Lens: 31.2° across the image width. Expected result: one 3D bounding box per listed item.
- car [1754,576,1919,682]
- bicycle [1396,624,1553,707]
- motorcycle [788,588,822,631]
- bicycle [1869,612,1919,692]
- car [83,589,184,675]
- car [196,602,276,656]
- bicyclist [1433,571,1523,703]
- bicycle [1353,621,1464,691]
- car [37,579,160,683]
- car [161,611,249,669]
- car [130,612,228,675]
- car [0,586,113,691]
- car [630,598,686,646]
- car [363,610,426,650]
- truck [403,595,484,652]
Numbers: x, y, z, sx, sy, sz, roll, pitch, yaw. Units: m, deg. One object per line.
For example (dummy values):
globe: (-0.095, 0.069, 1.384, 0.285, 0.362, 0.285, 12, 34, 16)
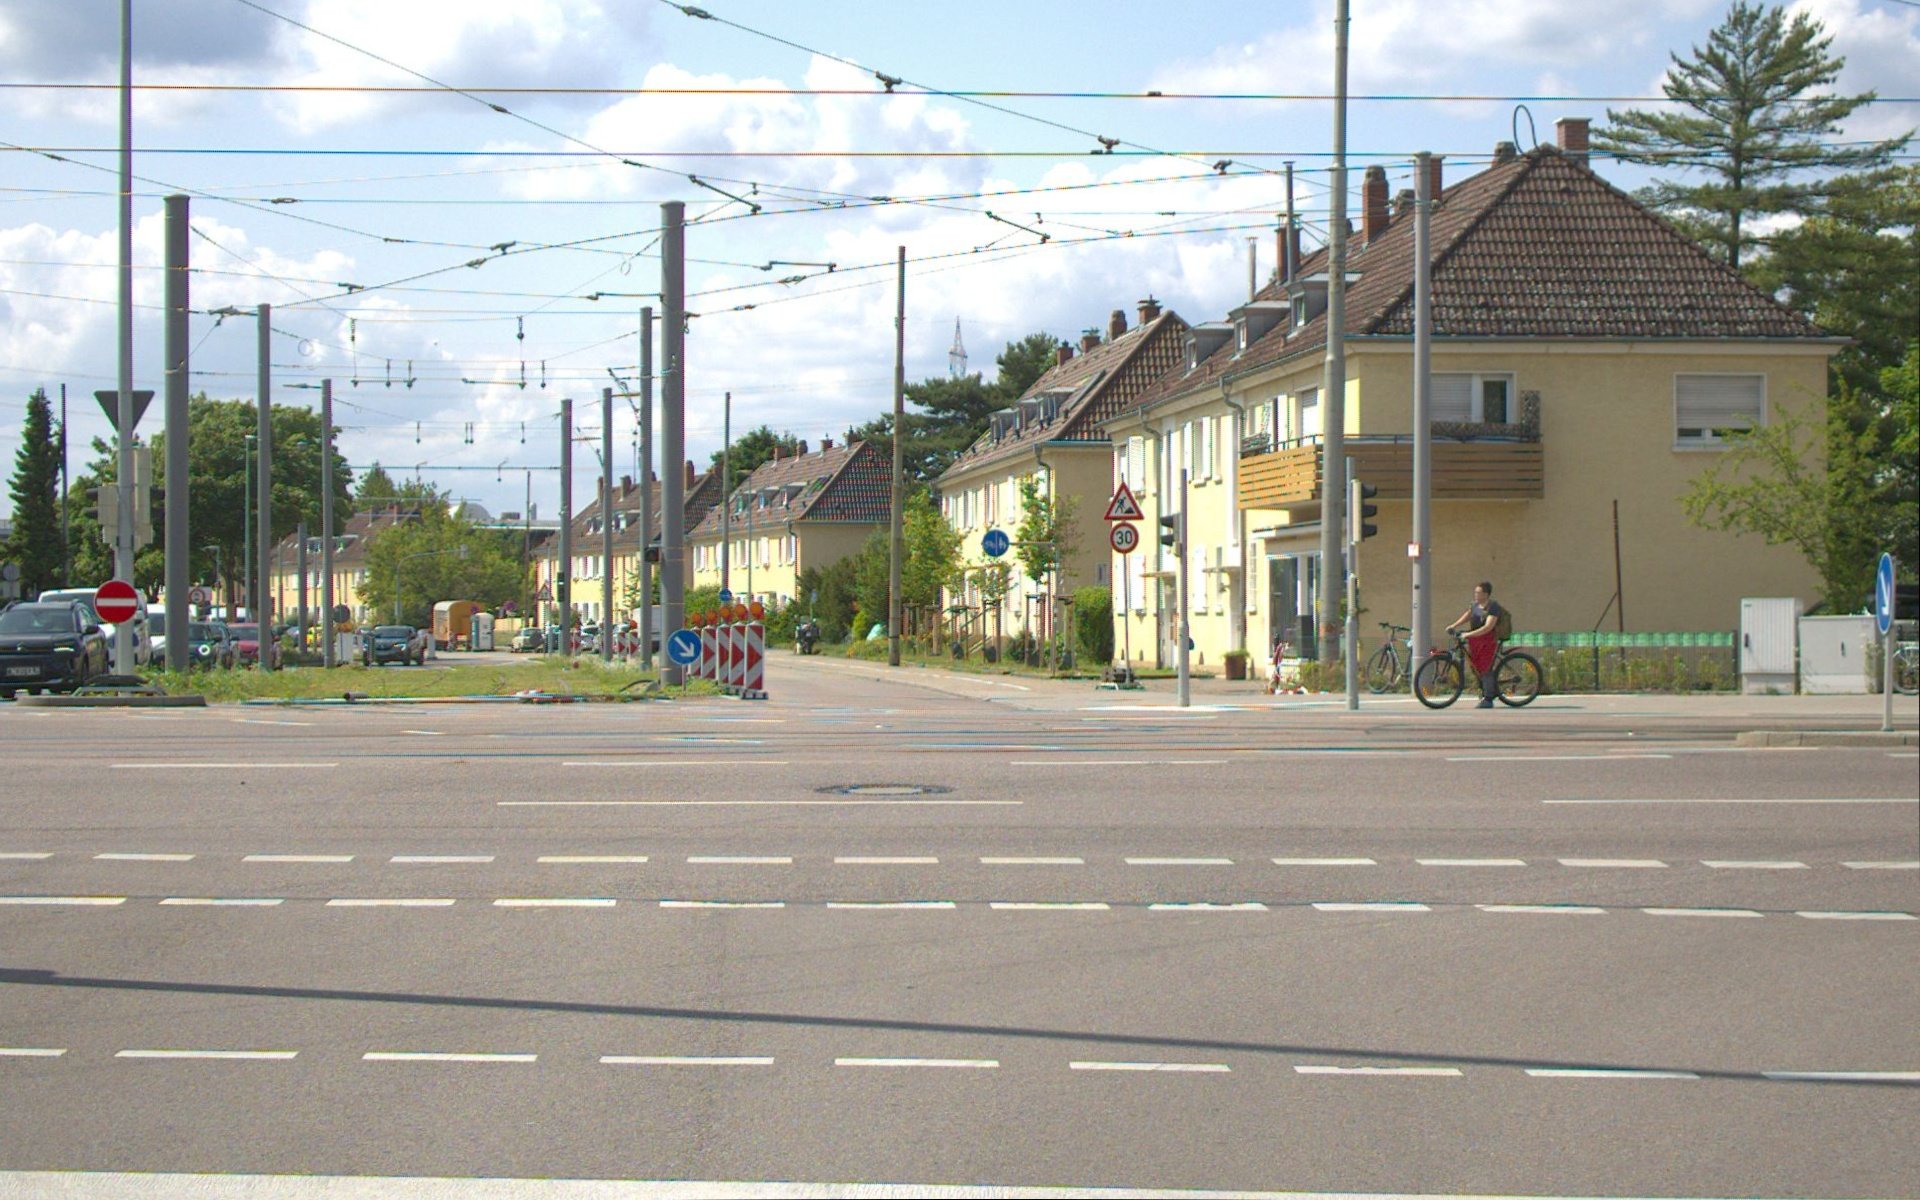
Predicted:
car: (14.345, 0.496, 54.885, 1.821, 1.615, 4.001, 0, -1, -10)
bicycle: (6.988, 0.879, 46.686, 2.026, 1.098, 0.715, 0, -1, -23)
motorcycle: (-5.933, 0.377, 131.475, 1.066, 1.630, 2.084, 0, 0, -8)
bicycle: (13.636, 0.715, 47.762, 1.806, 1.101, 0.701, 0, 0, 39)
car: (-17.588, 0.671, 73.287, 1.732, 1.776, 4.406, 0, 0, -9)
car: (-20.673, 0.833, 98.329, 1.843, 1.489, 4.857, 0, 0, -7)
bicyclist: (7.037, 0.499, 46.729, 0.957, 1.769, 0.720, 0, -1, -23)
bicycle: (7.086, 0.882, 54.461, 0.593, 1.093, 2.277, 0, -1, -26)
car: (-16.349, 0.581, 65.418, 1.814, 1.915, 4.749, 0, 0, -9)
car: (-19.085, 1.003, 87.091, 1.843, 1.408, 4.917, 0, 0, -8)
car: (-18.193, 0.999, 80.232, 1.914, 1.414, 4.001, 0, 0, -8)
car: (-15.729, 0.620, 59.002, 1.786, 1.715, 4.442, 0, 0, -7)
car: (-13.783, 0.990, 156.720, 2.065, 2.142, 4.879, 0, 0, -10)
car: (-22.441, 1.182, 136.588, 1.819, 1.547, 4.000, 0, 0, 1)
truck: (-32.628, 1.488, 216.944, 2.640, 3.482, 9.439, 0, 0, -24)
